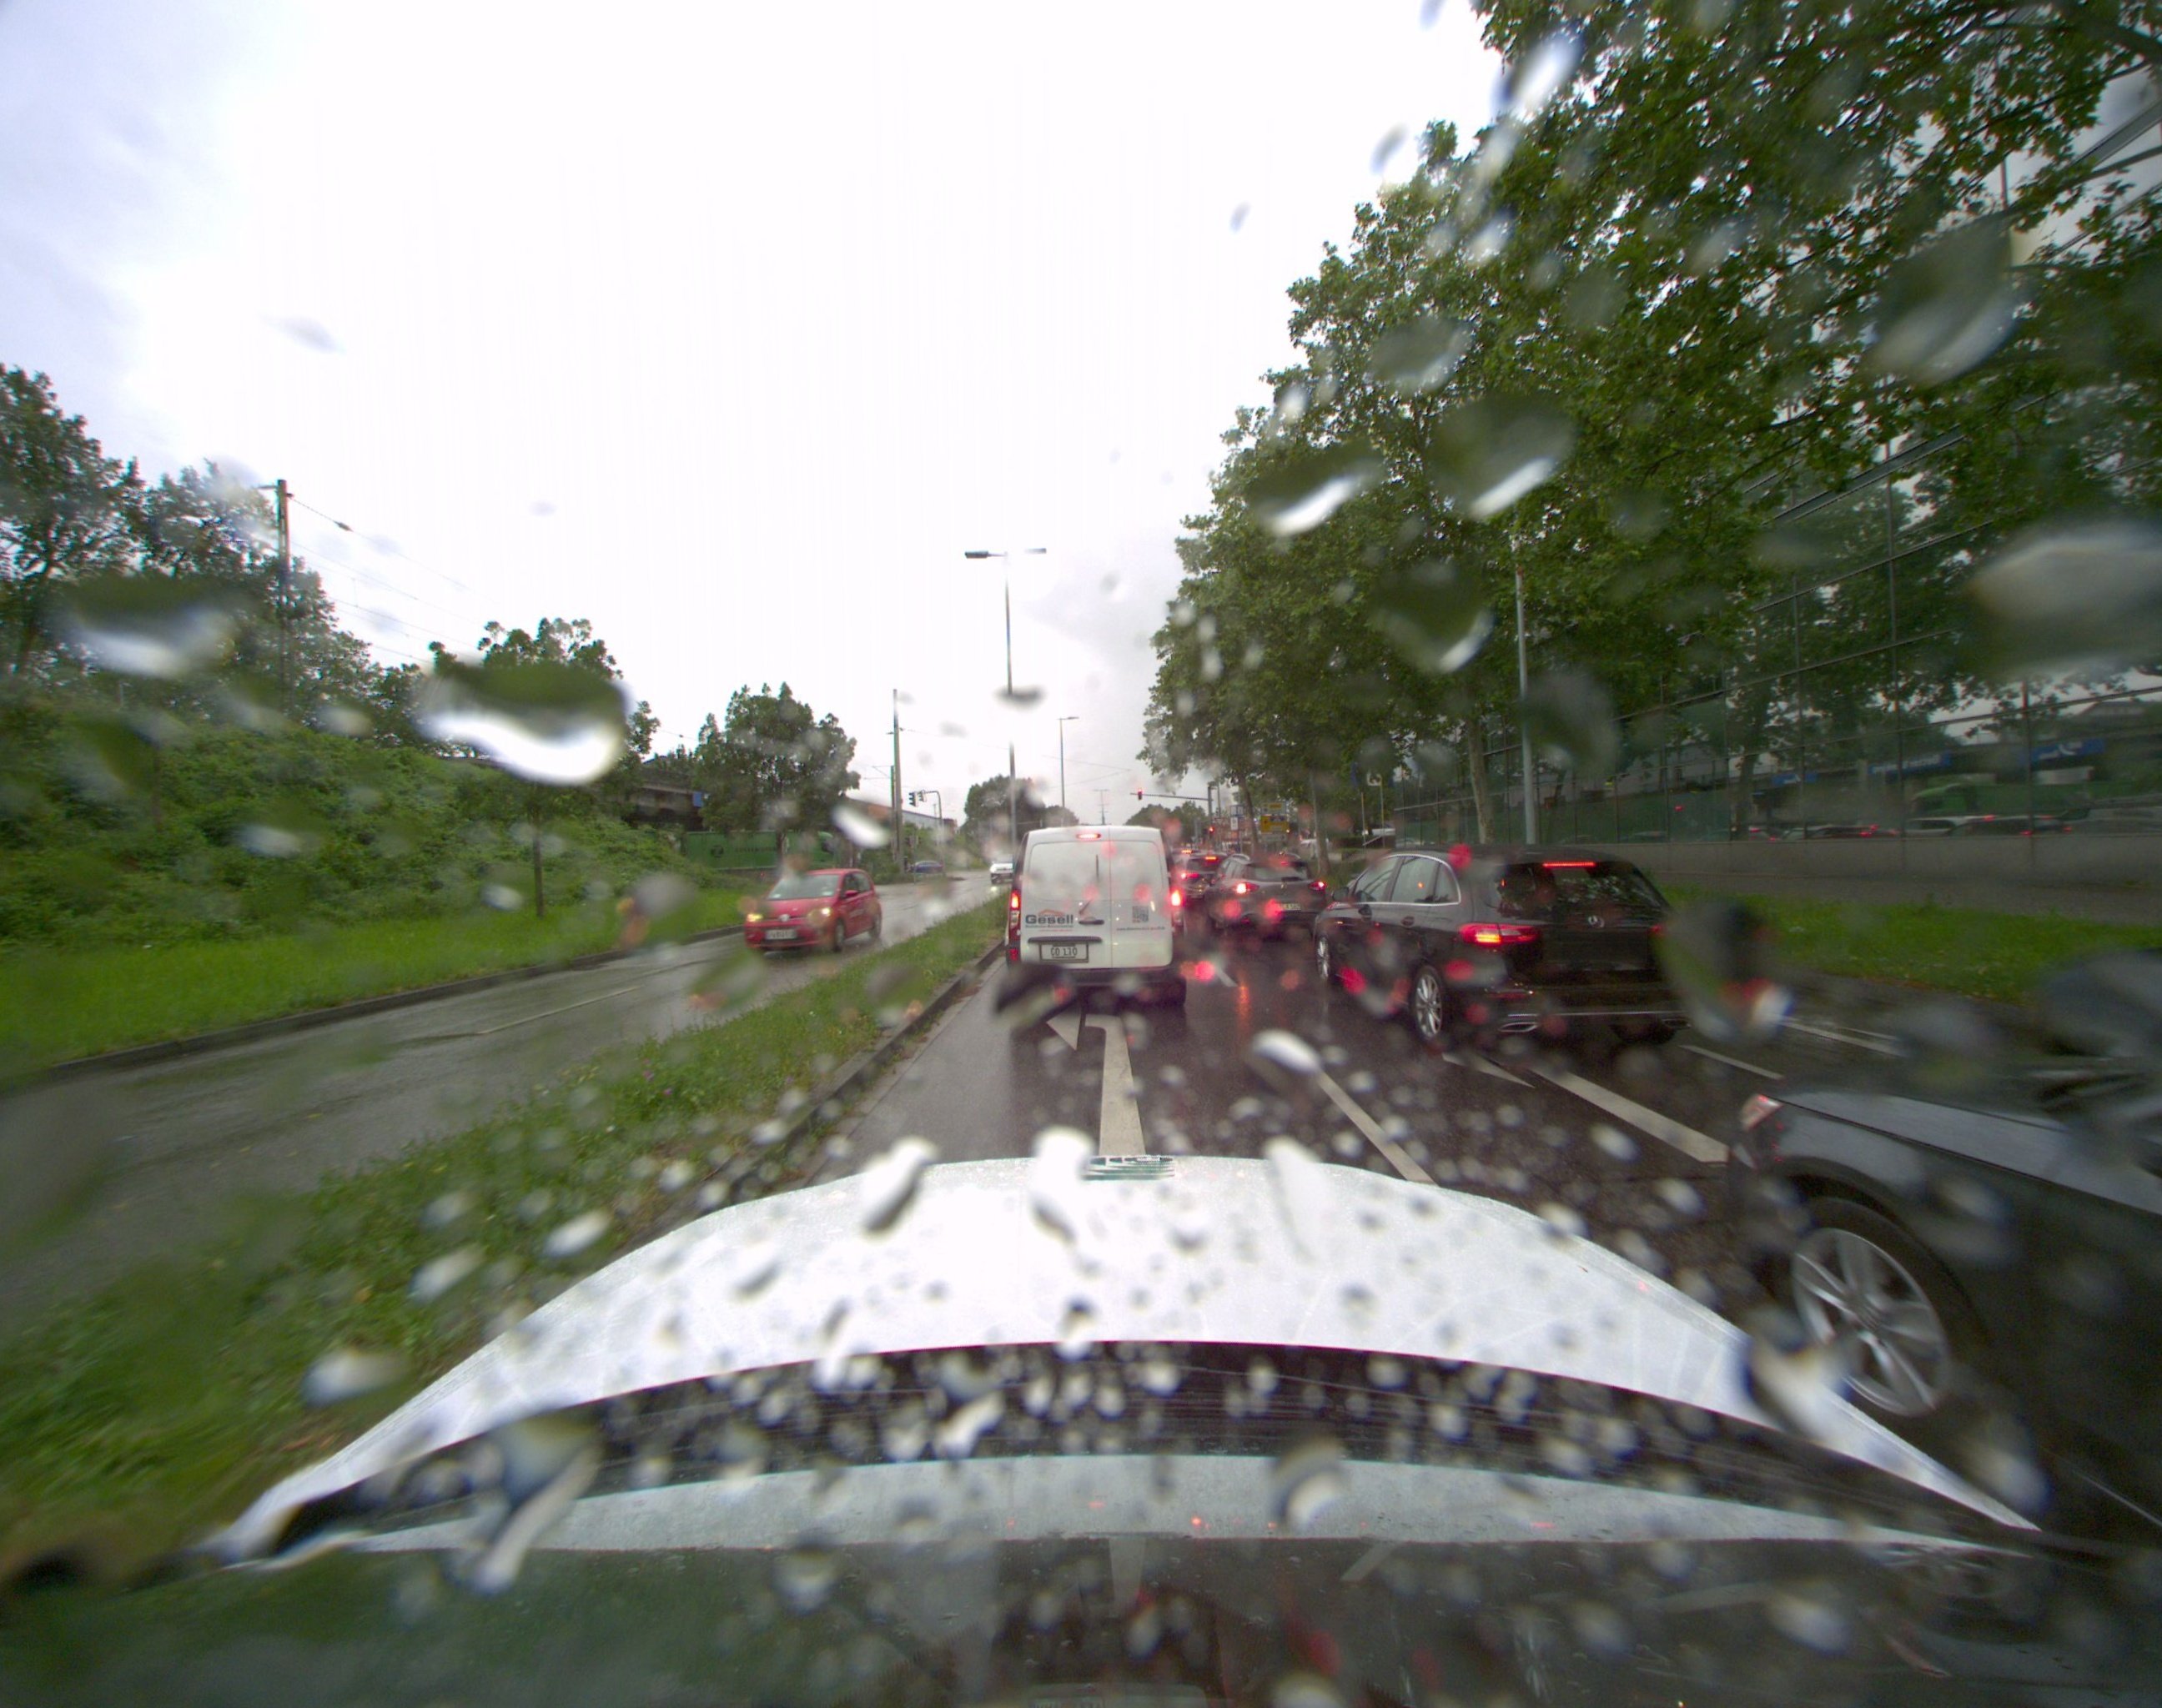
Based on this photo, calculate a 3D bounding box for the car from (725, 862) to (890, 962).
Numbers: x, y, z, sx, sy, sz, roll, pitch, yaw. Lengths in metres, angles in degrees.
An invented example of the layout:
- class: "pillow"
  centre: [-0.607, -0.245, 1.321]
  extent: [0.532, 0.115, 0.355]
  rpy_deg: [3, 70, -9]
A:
- class: "car"
  centre: [-5.044, 1.001, 15.560]
  extent: [1.709, 1.513, 3.616]
  rpy_deg: [-4, 0, 2]

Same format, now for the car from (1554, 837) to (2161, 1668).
- class: "car"
  centre: [2.871, 0.681, 1.227]
  extent: [1.987, 1.452, 3.999]
  rpy_deg: [-1, 0, 0]

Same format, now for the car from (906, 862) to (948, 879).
- class: "car"
  centre: [-15.860, 1.668, 83.965]
  extent: [3.954, 1.525, 1.761]
  rpy_deg: [-4, 1, -24]

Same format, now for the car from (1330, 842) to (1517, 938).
- class: "car"
  centre: [6.222, 0.600, 15.354]
  extent: [1.833, 1.537, 4.111]
  rpy_deg: [-1, 0, 0]

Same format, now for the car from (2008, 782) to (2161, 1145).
- class: "car"
  centre: [6.046, 0.499, 2.406]
  extent: [1.850, 1.726, 4.190]
  rpy_deg: [-1, 0, 0]

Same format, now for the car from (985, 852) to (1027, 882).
- class: "car"
  centre: [-4.363, 0.737, 47.853]
  extent: [1.956, 1.525, 4.334]
  rpy_deg: [-3, 1, 0]

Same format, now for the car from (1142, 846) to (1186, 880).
- class: "car"
  centre: [3.807, 0.362, 37.772]
  extent: [1.705, 1.445, 4.002]
  rpy_deg: [-2, 0, 1]

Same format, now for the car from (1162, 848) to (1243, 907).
- class: "car"
  centre: [3.262, 0.575, 22.469]
  extent: [1.705, 1.445, 4.002]
  rpy_deg: [-2, 0, 1]

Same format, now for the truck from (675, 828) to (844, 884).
- class: "truck"
  centre: [-21.291, 0.172, 54.398]
  extent: [10.185, 3.452, 2.629]
  rpy_deg: [0, -2, -36]

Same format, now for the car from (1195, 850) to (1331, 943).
- class: "car"
  centre: [3.203, 0.672, 15.087]
  extent: [1.705, 1.445, 4.002]
  rpy_deg: [-2, 0, 1]

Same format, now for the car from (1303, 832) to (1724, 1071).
- class: "car"
  centre: [3.434, 0.619, 7.426]
  extent: [1.703, 1.549, 4.000]
  rpy_deg: [-1, 1, 0]

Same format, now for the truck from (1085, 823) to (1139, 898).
- class: "truck"
  centre: [1.032, 0.213, 29.115]
  extent: [1.751, 2.466, 3.999]
  rpy_deg: [-1, 0, 0]

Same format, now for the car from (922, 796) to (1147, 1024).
- class: "car"
  centre: [-0.409, 0.488, 9.330]
  extent: [1.987, 2.013, 4.000]
  rpy_deg: [-1, 0, 0]
